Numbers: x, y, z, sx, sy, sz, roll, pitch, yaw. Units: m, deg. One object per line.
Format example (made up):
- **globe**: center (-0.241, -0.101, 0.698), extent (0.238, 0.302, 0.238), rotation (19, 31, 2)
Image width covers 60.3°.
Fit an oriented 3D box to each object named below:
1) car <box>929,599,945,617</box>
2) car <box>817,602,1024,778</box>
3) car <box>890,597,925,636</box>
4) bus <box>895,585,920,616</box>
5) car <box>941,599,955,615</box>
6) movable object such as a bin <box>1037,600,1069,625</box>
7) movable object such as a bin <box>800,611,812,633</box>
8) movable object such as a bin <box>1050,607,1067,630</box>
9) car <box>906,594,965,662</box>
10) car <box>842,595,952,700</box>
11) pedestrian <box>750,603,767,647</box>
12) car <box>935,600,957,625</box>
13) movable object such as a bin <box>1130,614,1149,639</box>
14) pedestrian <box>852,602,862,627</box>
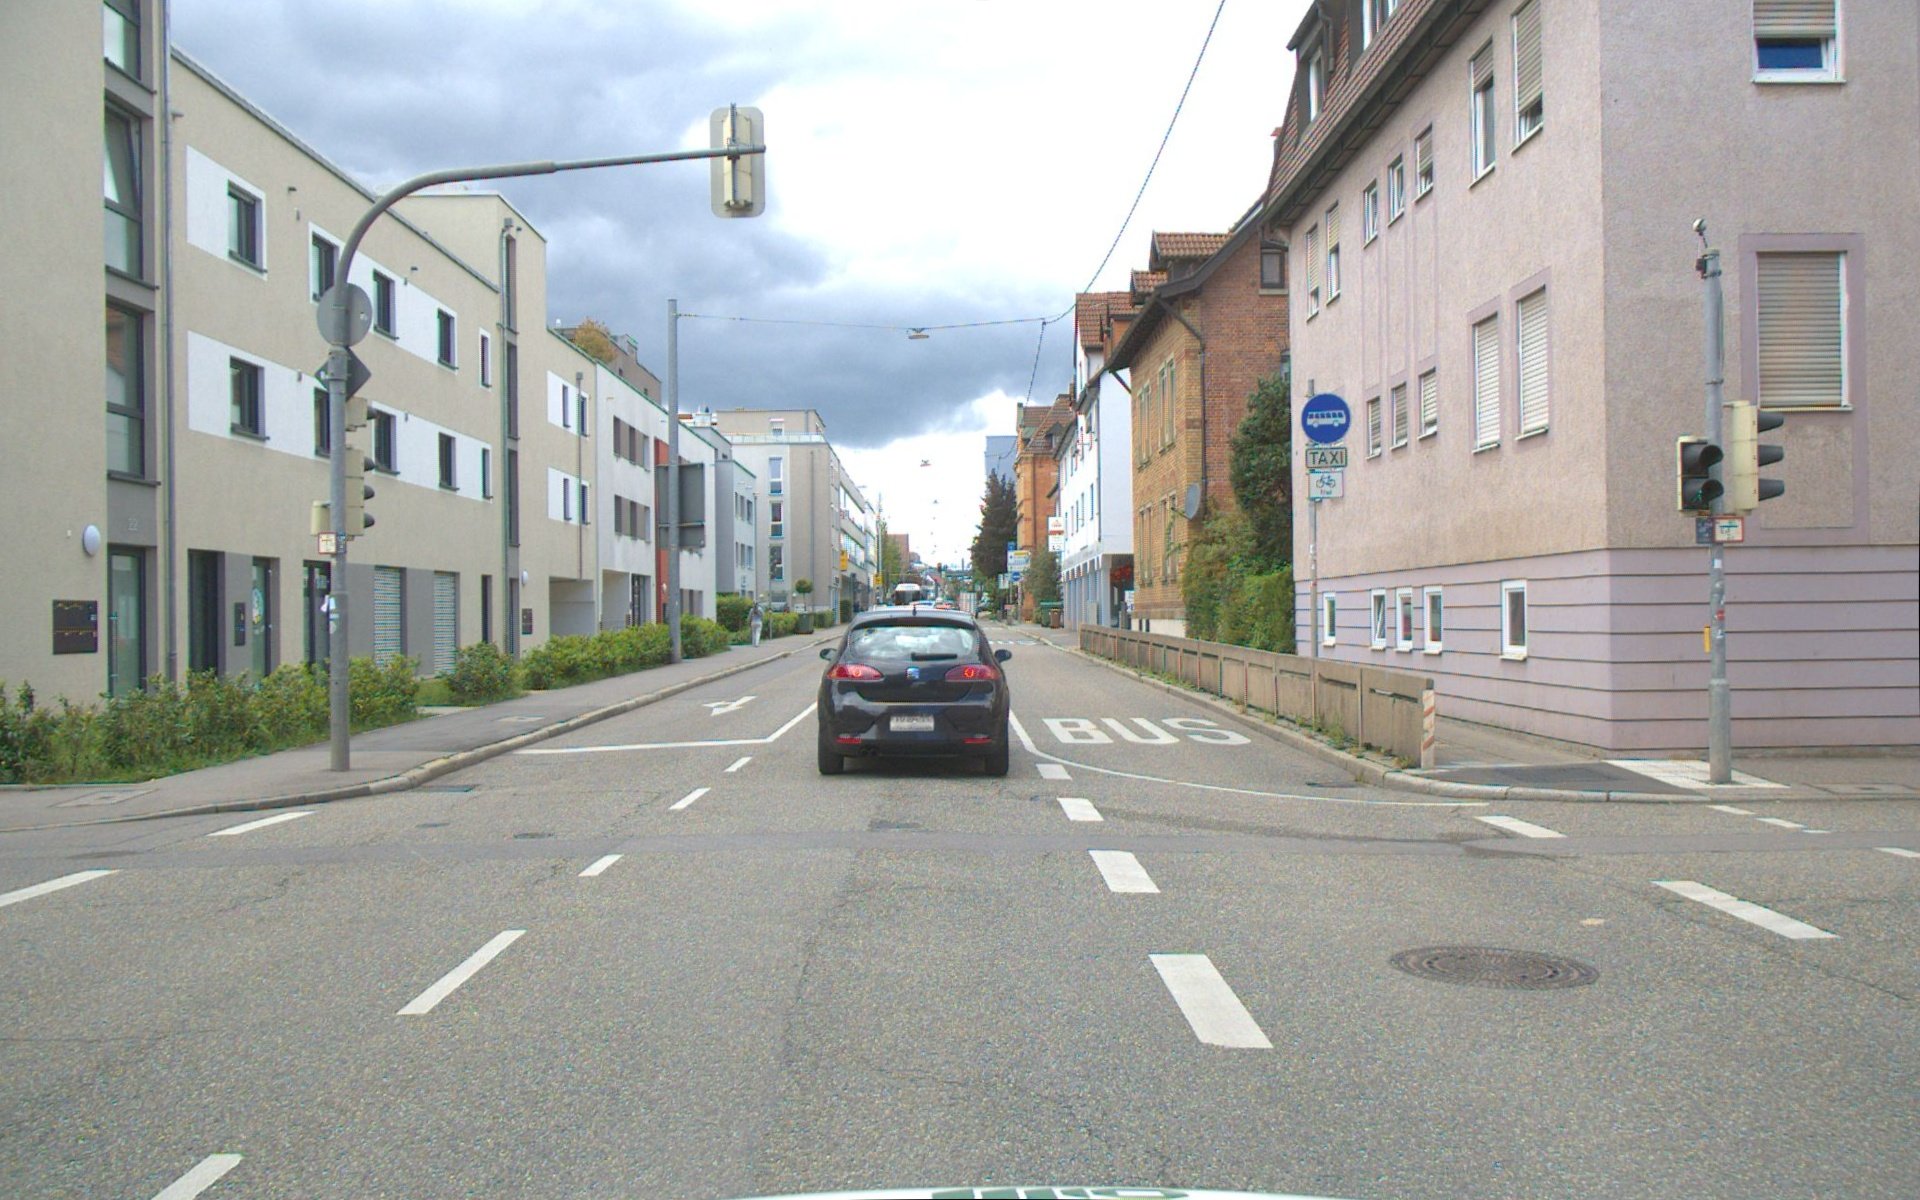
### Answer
- **car**: center (-2.227, 0.757, 160.101), extent (1.500, 1.723, 3.692), rotation (-1, 0, -1)
- **car**: center (-0.347, 0.769, 15.820), extent (1.723, 1.467, 3.999), rotation (0, -1, -1)
- **car**: center (-2.319, 0.733, 73.959), extent (1.500, 1.723, 3.692), rotation (0, -1, -1)
- **bus**: center (-5.109, 0.067, 161.868), extent (2.165, 2.937, 8.918), rotation (0, -1, -1)
- **car**: center (-1.371, 0.757, 186.811), extent (1.500, 1.722, 3.692), rotation (-1, 0, -1)
- **movable object such as a bin**: center (5.499, 0.769, 98.118), extent (1.780, 1.462, 1.993), rotation (0, -1, 0)
- **movable object such as a bin**: center (-7.512, 1.065, 80.721), extent (0.538, 1.097, 0.612), rotation (0, -1, 0)
- **movable object such as a bin**: center (5.583, 1.028, 93.651), extent (0.909, 1.306, 0.883), rotation (0, -1, 0)
- **car**: center (-0.647, 0.730, 44.145), extent (1.500, 1.723, 3.692), rotation (0, -1, -1)
- **car**: center (-1.063, 0.800, 29.259), extent (1.805, 1.723, 3.999), rotation (0, -1, -1)
- **pedestrian**: center (-7.255, 0.881, 59.541), extent (0.516, 1.575, 0.541), rotation (0, -1, -1)
- **car**: center (-1.011, 0.893, 118.821), extent (1.500, 1.723, 3.692), rotation (0, -1, -1)
- **movable object such as a bin**: center (5.999, 0.890, 55.355), extent (0.580, 0.854, 0.458), rotation (0, -1, -1)
- **pedestrian**: center (-7.222, 1.011, 116.006), extent (0.716, 1.759, 0.859), rotation (0, -1, -1)
